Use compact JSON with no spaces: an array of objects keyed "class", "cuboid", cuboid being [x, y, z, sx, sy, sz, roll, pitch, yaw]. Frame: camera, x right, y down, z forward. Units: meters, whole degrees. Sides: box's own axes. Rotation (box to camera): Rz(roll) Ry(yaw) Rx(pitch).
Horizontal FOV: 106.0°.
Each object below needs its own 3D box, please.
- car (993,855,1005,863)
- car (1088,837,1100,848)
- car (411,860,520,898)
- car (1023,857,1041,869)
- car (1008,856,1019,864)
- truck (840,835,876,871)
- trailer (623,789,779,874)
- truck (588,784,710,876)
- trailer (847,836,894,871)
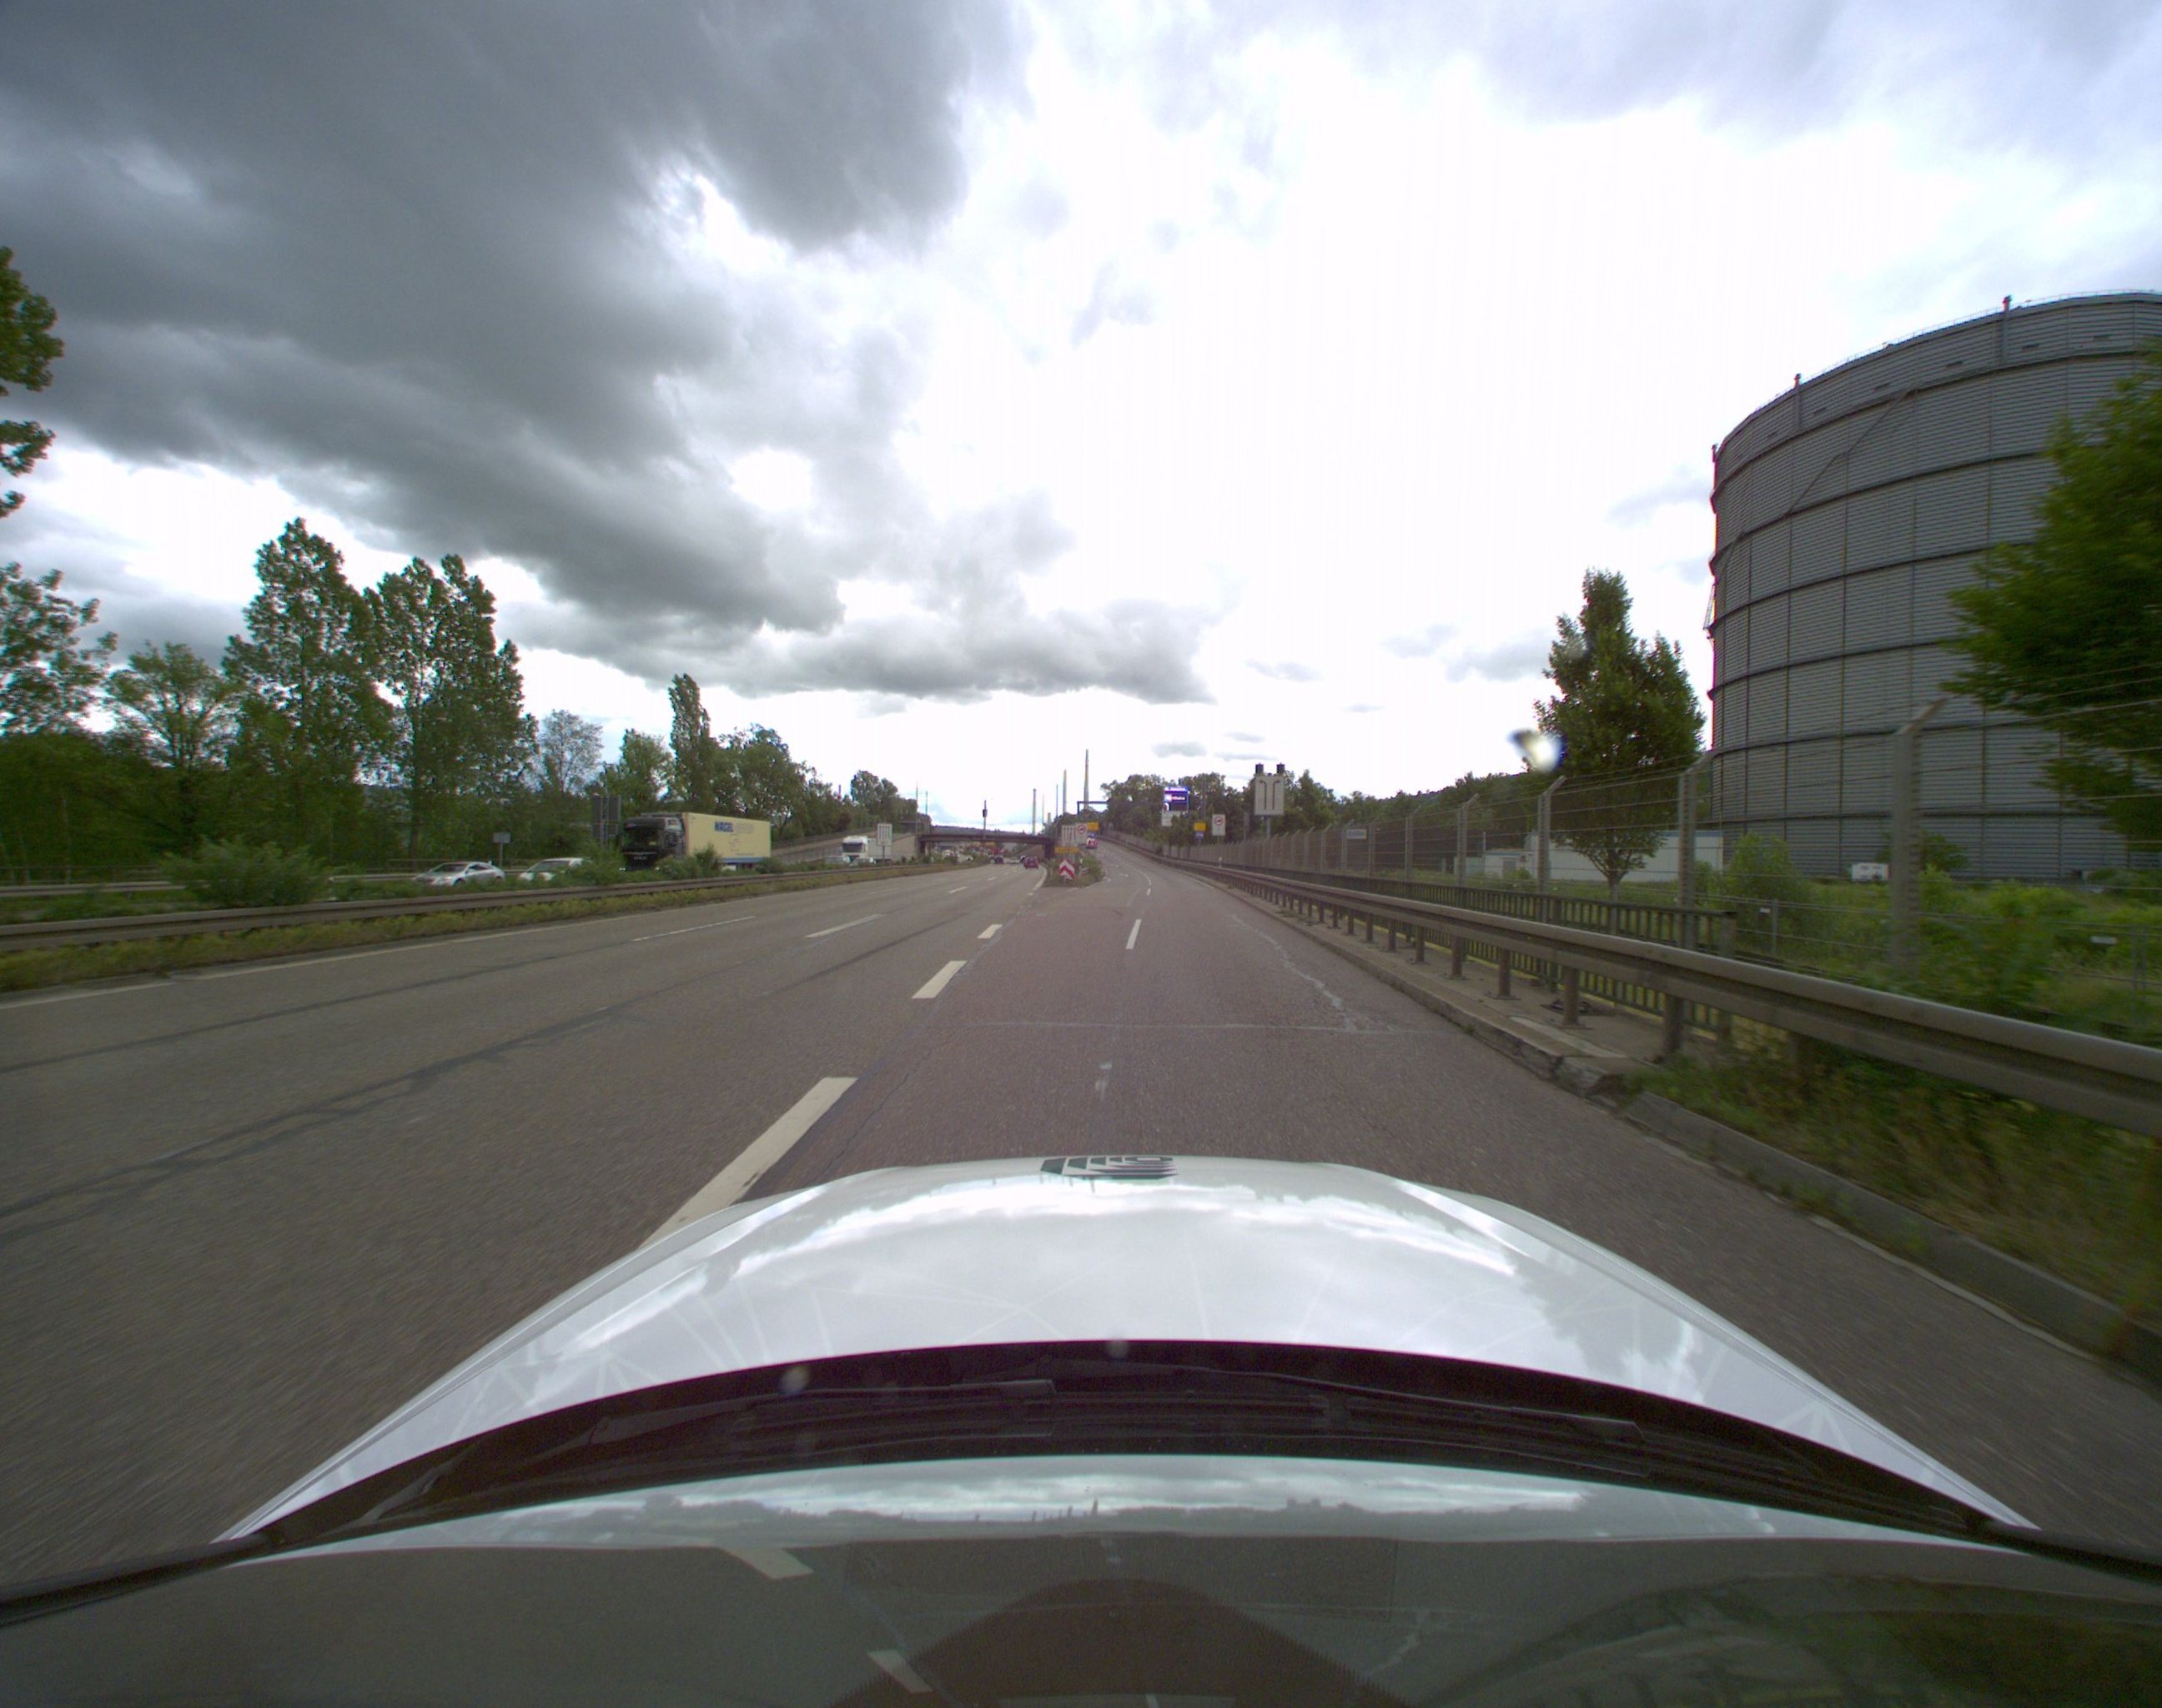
[{"class":"car","cuboid":[-17.675,1.018,175.695,1.988,1.684,3.999,1,1,-1]},{"class":"car","cuboid":[2.201,-1.892,136.346,1.743,1.580,4.087,2,0,3]},{"class":"car","cuboid":[-30.141,1.182,40.087,1.989,1.644,4.598,2,0,-4]},{"class":"car","cuboid":[-6.355,1.179,104.763,1.992,1.420,3.990,1,1,-7]},{"class":"car","cuboid":[-13.817,1.211,167.231,1.988,1.684,3.999,1,1,-1]},{"class":"truck","cuboid":[-25.193,-0.096,92.153,2.783,3.937,5.306,1,-1,-3]},{"class":"trailer","cuboid":[-23.888,-1.239,52.736,3.454,4.673,14.772,1,0,-2]},{"class":"truck","cuboid":[-23.685,-1.243,45.117,3.454,4.673,6.207,1,0,-2]},{"class":"trailer","cuboid":[-25.566,-0.046,99.484,2.783,3.949,13.498,1,-1,-3]}]
